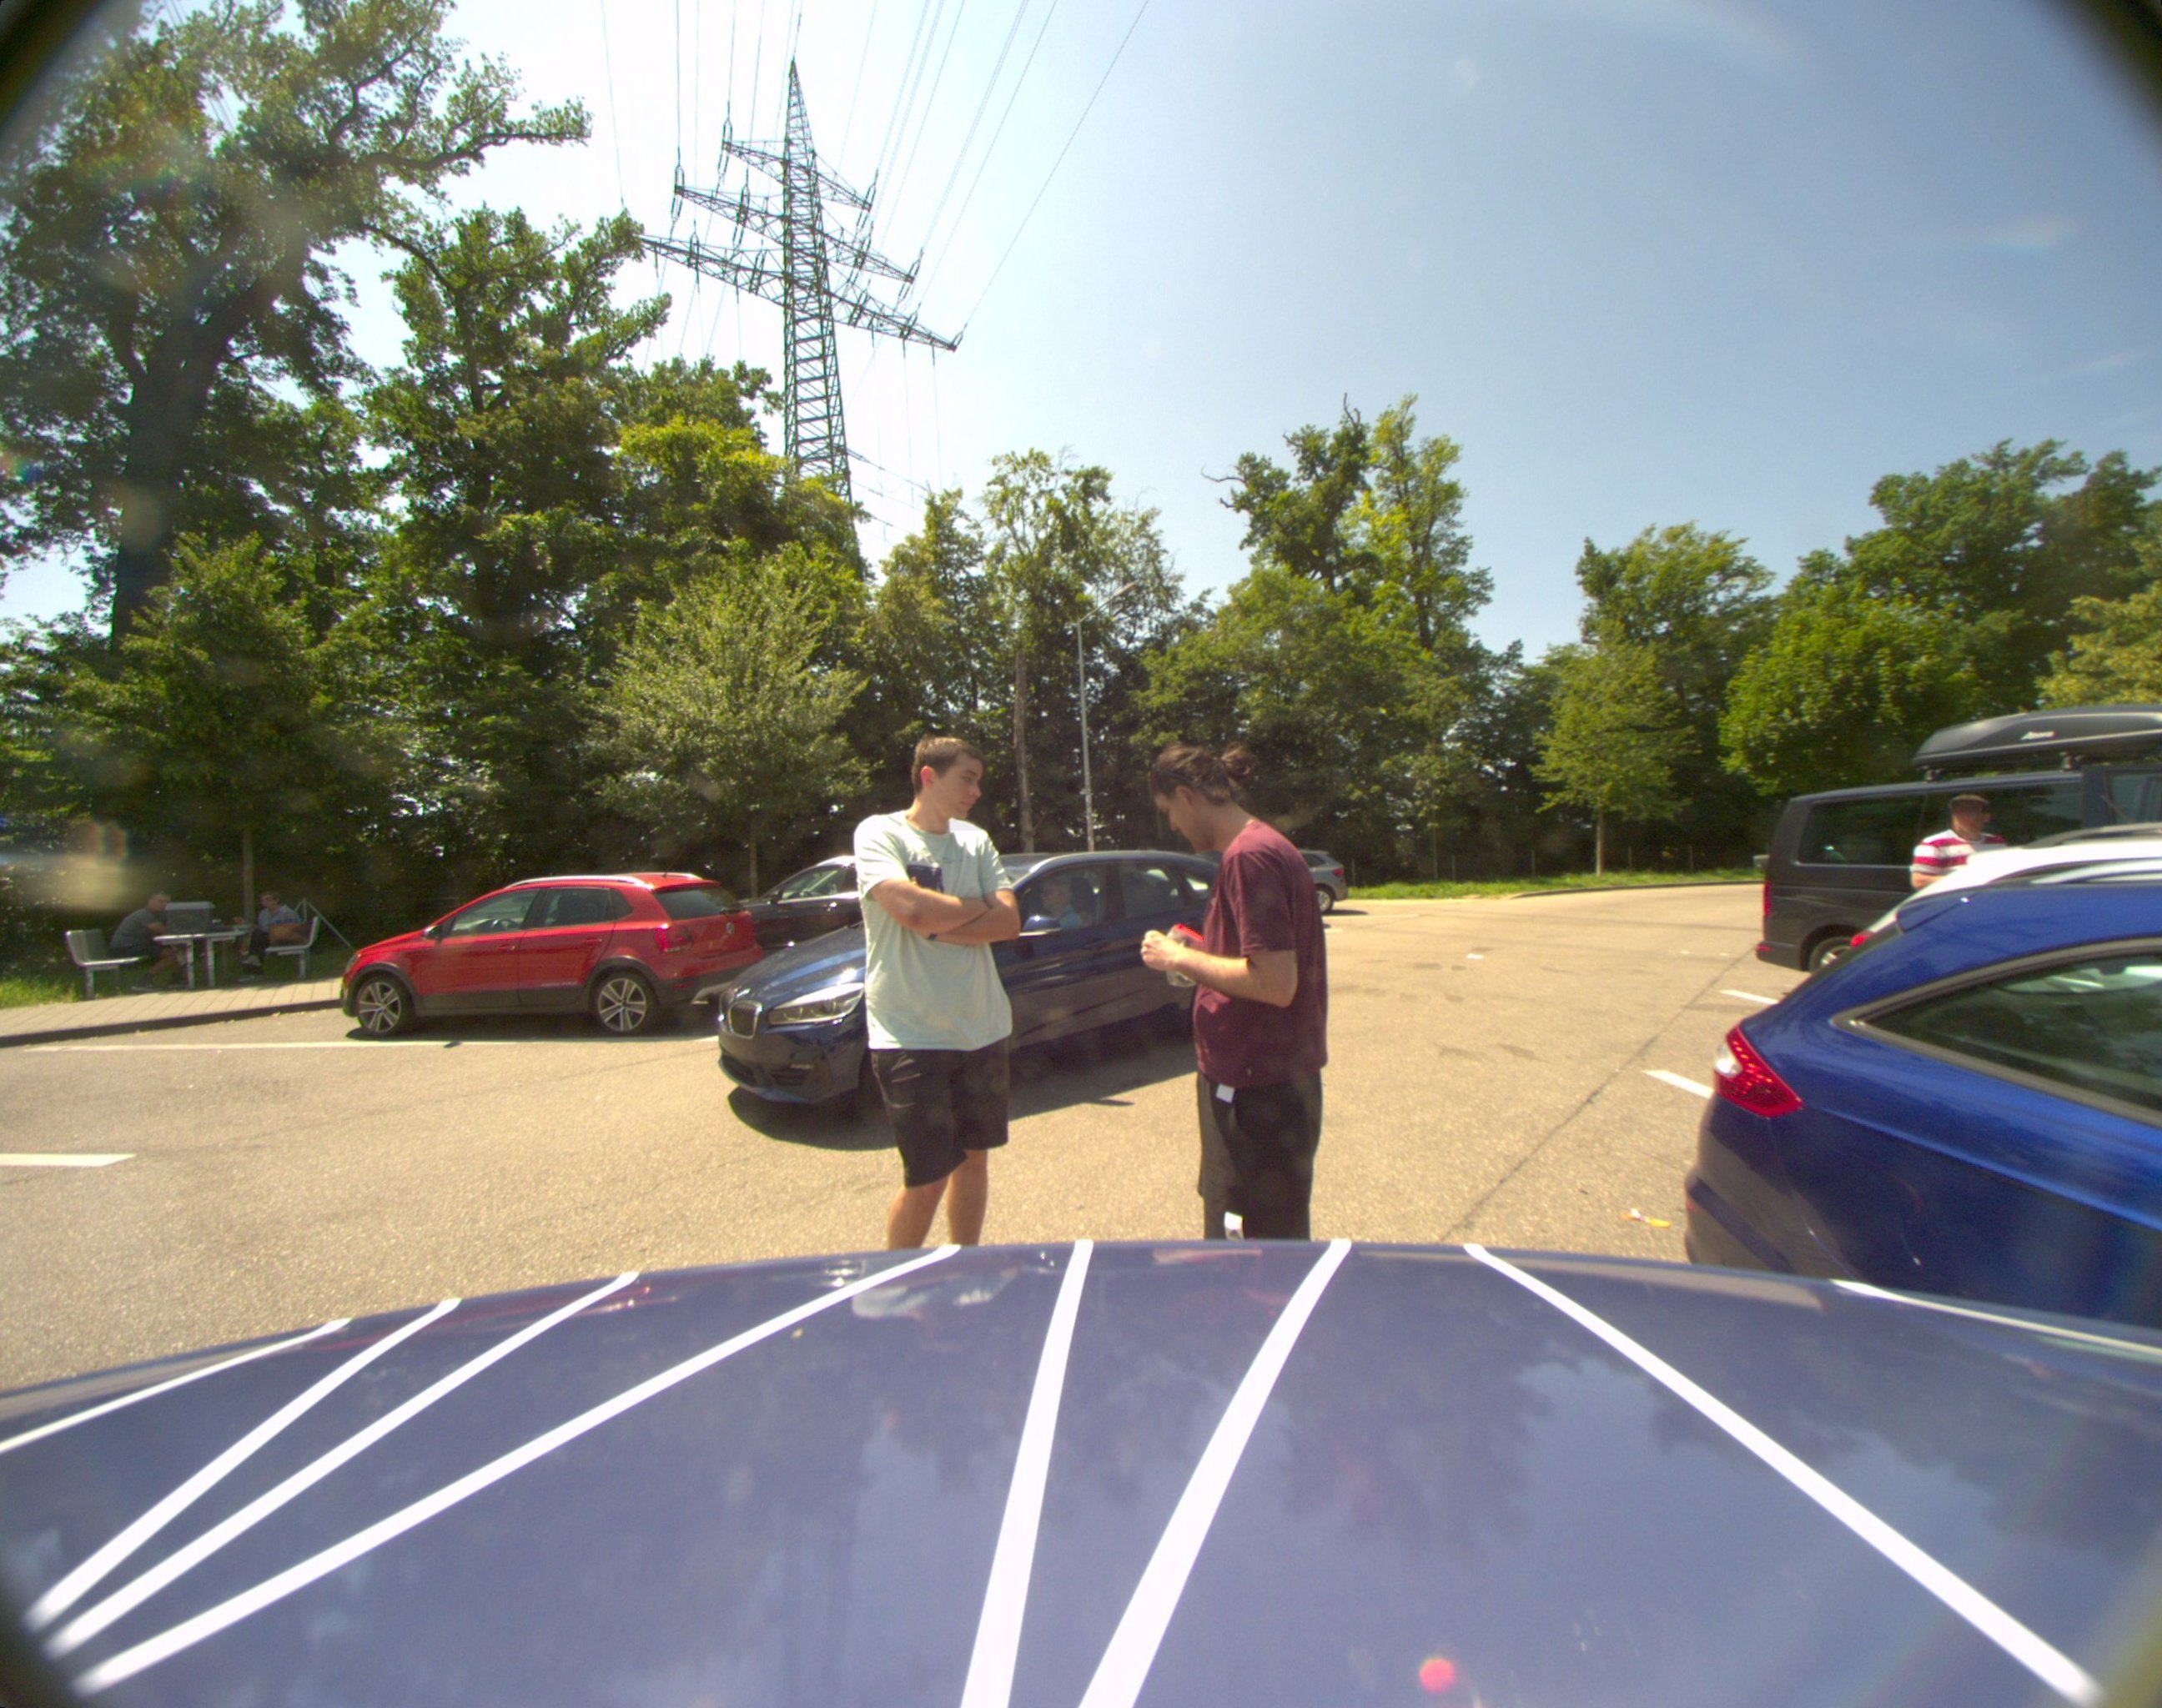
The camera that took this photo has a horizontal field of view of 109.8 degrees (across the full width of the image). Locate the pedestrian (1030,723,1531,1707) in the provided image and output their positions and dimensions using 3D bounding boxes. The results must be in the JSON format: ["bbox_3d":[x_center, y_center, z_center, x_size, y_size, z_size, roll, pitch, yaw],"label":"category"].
[{"bbox_3d":[0.483,0.716,1.921,0.919,1.894,0.815,-2,1,16],"label":"pedestrian"}]

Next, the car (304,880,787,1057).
[{"bbox_3d":[-5.216,1.090,7.662,3.823,1.460,1.651,-2,1,8],"label":"car"}]

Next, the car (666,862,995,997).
[{"bbox_3d":[-3.235,0.962,10.291,3.825,1.546,1.651,-2,1,4],"label":"car"}]

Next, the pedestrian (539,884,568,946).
[{"bbox_3d":[-10.149,1.164,14.615,0.357,1.158,0.384,-3,2,-41],"label":"pedestrian"}]

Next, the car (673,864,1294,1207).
[{"bbox_3d":[-0.464,0.919,5.756,4.352,1.544,1.743,-2,1,-38],"label":"car"}]

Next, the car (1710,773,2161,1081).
[{"bbox_3d":[7.389,0.415,5.275,1.758,1.886,4.571,-3,-1,-9],"label":"car"}]

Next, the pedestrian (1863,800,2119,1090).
[{"bbox_3d":[5.932,0.556,5.015,0.754,1.744,0.786,-2,1,13],"label":"pedestrian"}]

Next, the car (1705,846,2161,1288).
[{"bbox_3d":[4.661,0.730,2.244,1.757,1.496,4.574,-3,-1,-1],"label":"car"}]

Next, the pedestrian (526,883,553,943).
[{"bbox_3d":[-10.993,1.187,15.431,0.357,1.158,0.384,-3,2,-41],"label":"pedestrian"}]

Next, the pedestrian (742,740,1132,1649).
[{"bbox_3d":[-0.471,0.717,2.193,0.815,1.939,0.919,-3,1,-26],"label":"pedestrian"}]

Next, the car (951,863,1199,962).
[{"bbox_3d":[-0.059,0.934,12.666,3.825,1.394,1.651,-2,1,4],"label":"car"}]

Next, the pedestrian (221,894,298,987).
[{"bbox_3d":[-11.846,1.229,10.978,0.595,1.238,0.499,-3,1,-33],"label":"pedestrian"}]

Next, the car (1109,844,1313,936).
[{"bbox_3d":[2.622,0.712,15.448,3.822,1.686,1.652,-2,1,12],"label":"car"}]

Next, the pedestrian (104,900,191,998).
[{"bbox_3d":[-12.713,1.270,10.364,0.595,1.238,0.446,-3,1,-33],"label":"pedestrian"}]

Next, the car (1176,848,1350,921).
[{"bbox_3d":[4.281,0.709,18.143,3.822,1.551,1.652,-2,1,12],"label":"car"}]
